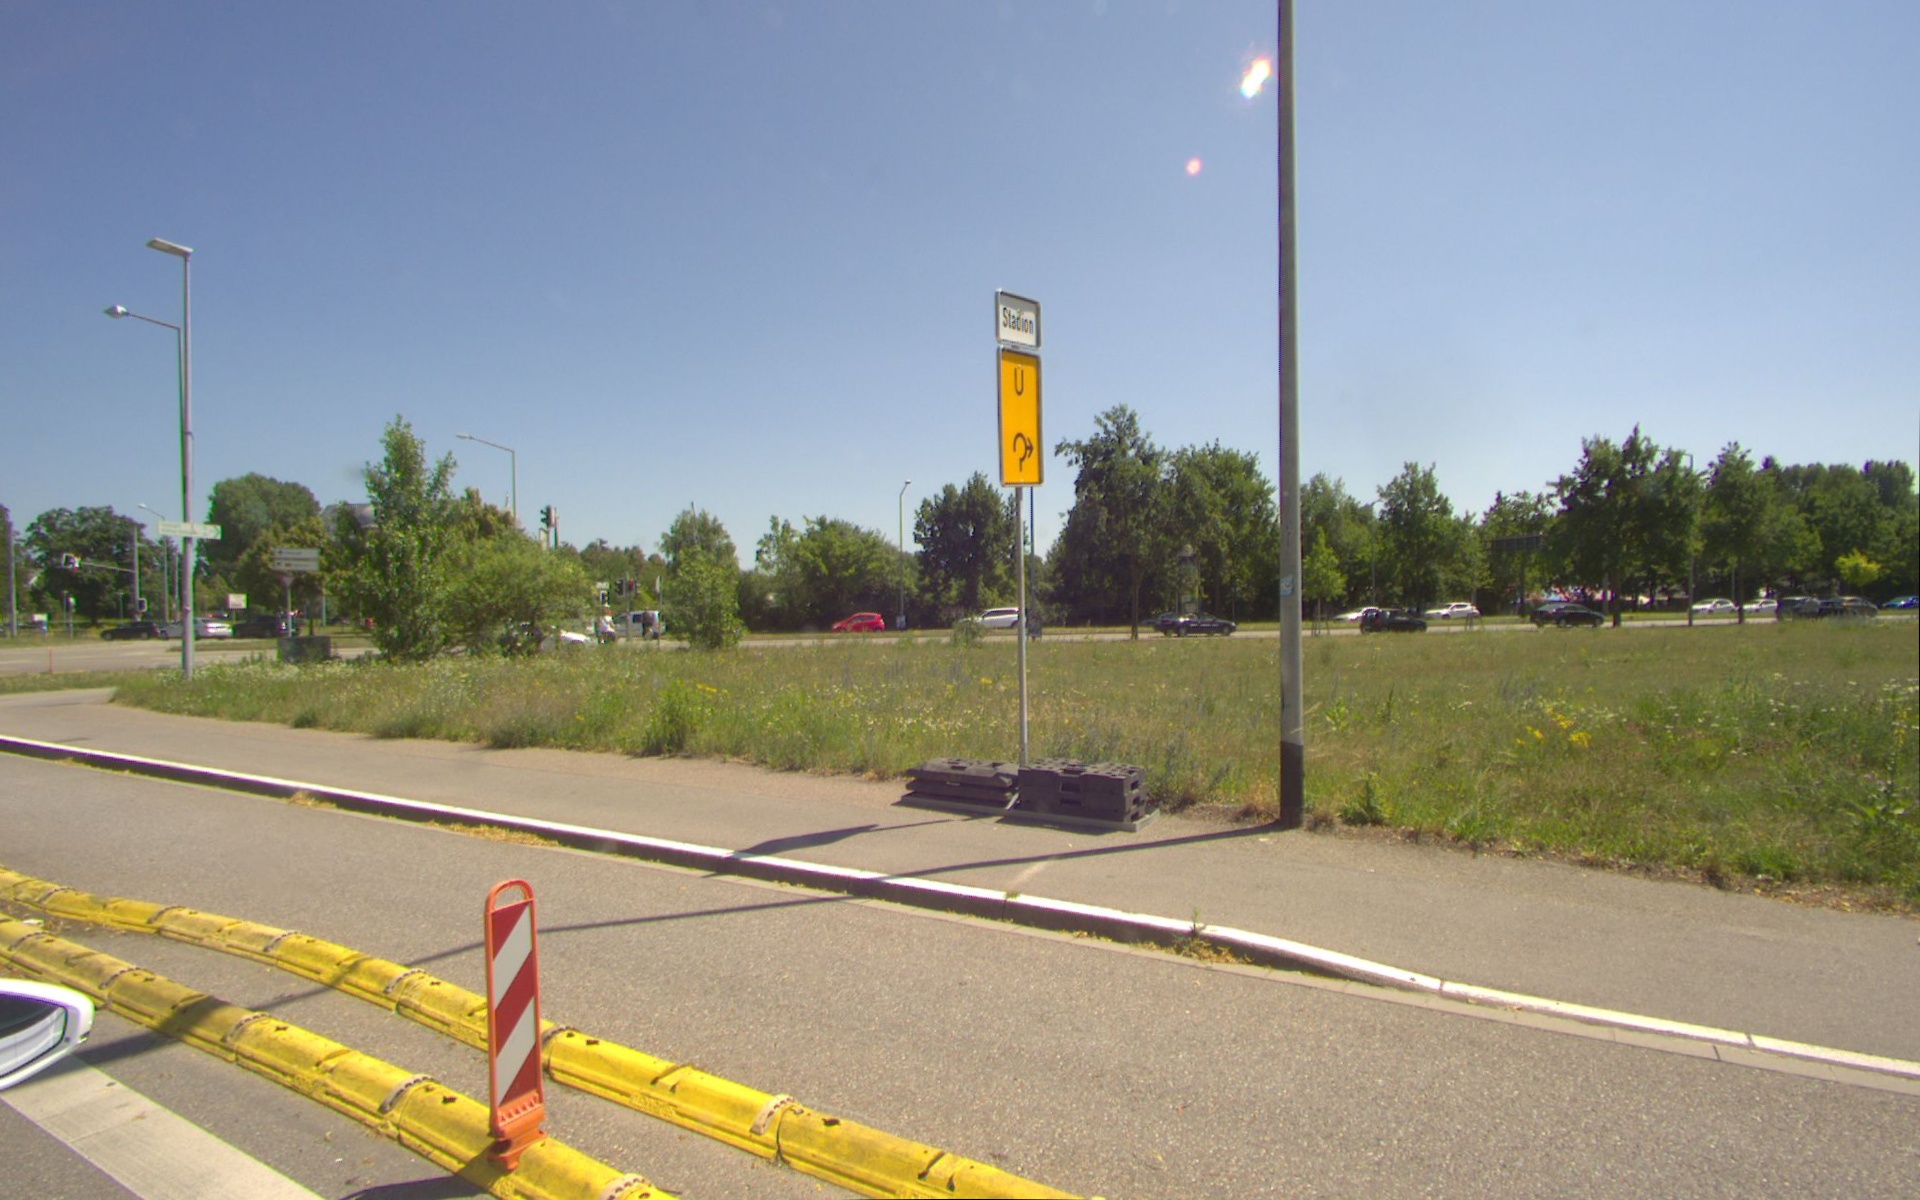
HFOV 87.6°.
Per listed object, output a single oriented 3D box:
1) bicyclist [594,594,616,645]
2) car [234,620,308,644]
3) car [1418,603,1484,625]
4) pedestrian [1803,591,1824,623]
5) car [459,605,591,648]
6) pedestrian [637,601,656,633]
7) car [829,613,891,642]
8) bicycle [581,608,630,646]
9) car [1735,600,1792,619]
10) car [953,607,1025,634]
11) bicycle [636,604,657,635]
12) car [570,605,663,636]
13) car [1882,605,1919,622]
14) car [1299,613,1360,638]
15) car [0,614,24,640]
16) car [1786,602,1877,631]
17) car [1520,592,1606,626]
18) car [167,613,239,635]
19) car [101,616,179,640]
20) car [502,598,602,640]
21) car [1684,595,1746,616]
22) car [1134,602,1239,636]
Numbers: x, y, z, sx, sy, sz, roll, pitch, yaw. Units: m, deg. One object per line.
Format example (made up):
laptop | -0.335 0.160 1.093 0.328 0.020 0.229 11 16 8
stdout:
bicyclist | -13.156 0.738 37.163 0.597 1.864 0.572 0 -1 2
car | -48.341 2.279 70.304 4.250 1.634 1.881 -1 -2 13
car | 37.094 1.080 75.684 4.365 1.612 1.846 0 -2 -16
pedestrian | 43.021 0.367 50.470 0.548 1.611 0.662 1 -1 -32
car | -16.977 0.988 39.187 4.369 1.547 1.983 0 0 -40
pedestrian | -16.713 0.912 53.419 0.954 1.681 0.885 0 -1 -16
car | -6.572 1.796 65.761 3.867 1.840 1.662 0 -2 -15
bicycle | -13.146 1.016 37.229 0.628 1.370 2.896 0 -2 4
car | 71.556 0.837 89.188 4.365 1.613 1.845 0 0 -16
car | 1.867 1.344 64.897 4.365 1.758 1.846 0 -2 -16
bicycle | -16.757 1.047 53.557 0.967 1.617 2.879 0 -2 -16
car | -21.763 1.313 63.633 5.225 1.987 1.995 0 -2 -4
car | 88.922 1.305 93.927 3.927 1.558 1.764 0 -2 -14
car | 27.558 1.930 74.784 4.074 1.840 1.662 0 -2 -15
car | -66.295 1.829 67.841 4.359 1.758 1.849 0 -2 7
car | 54.476 1.025 62.628 4.559 1.758 1.999 0 -2 -13
car | 36.862 0.568 61.238 4.564 1.961 1.996 1 -2 -19
car | -49.173 1.575 65.021 4.256 1.389 1.749 -1 -2 21
car | -62.082 2.110 75.859 4.358 1.758 1.849 0 -2 -2
car | -23.822 1.145 58.681 5.233 2.427 1.991 0 -2 -16
car | 62.362 0.484 82.761 4.365 1.612 1.846 0 -2 -16
car | 12.272 1.054 54.362 5.232 1.758 1.999 0 -2 -13
